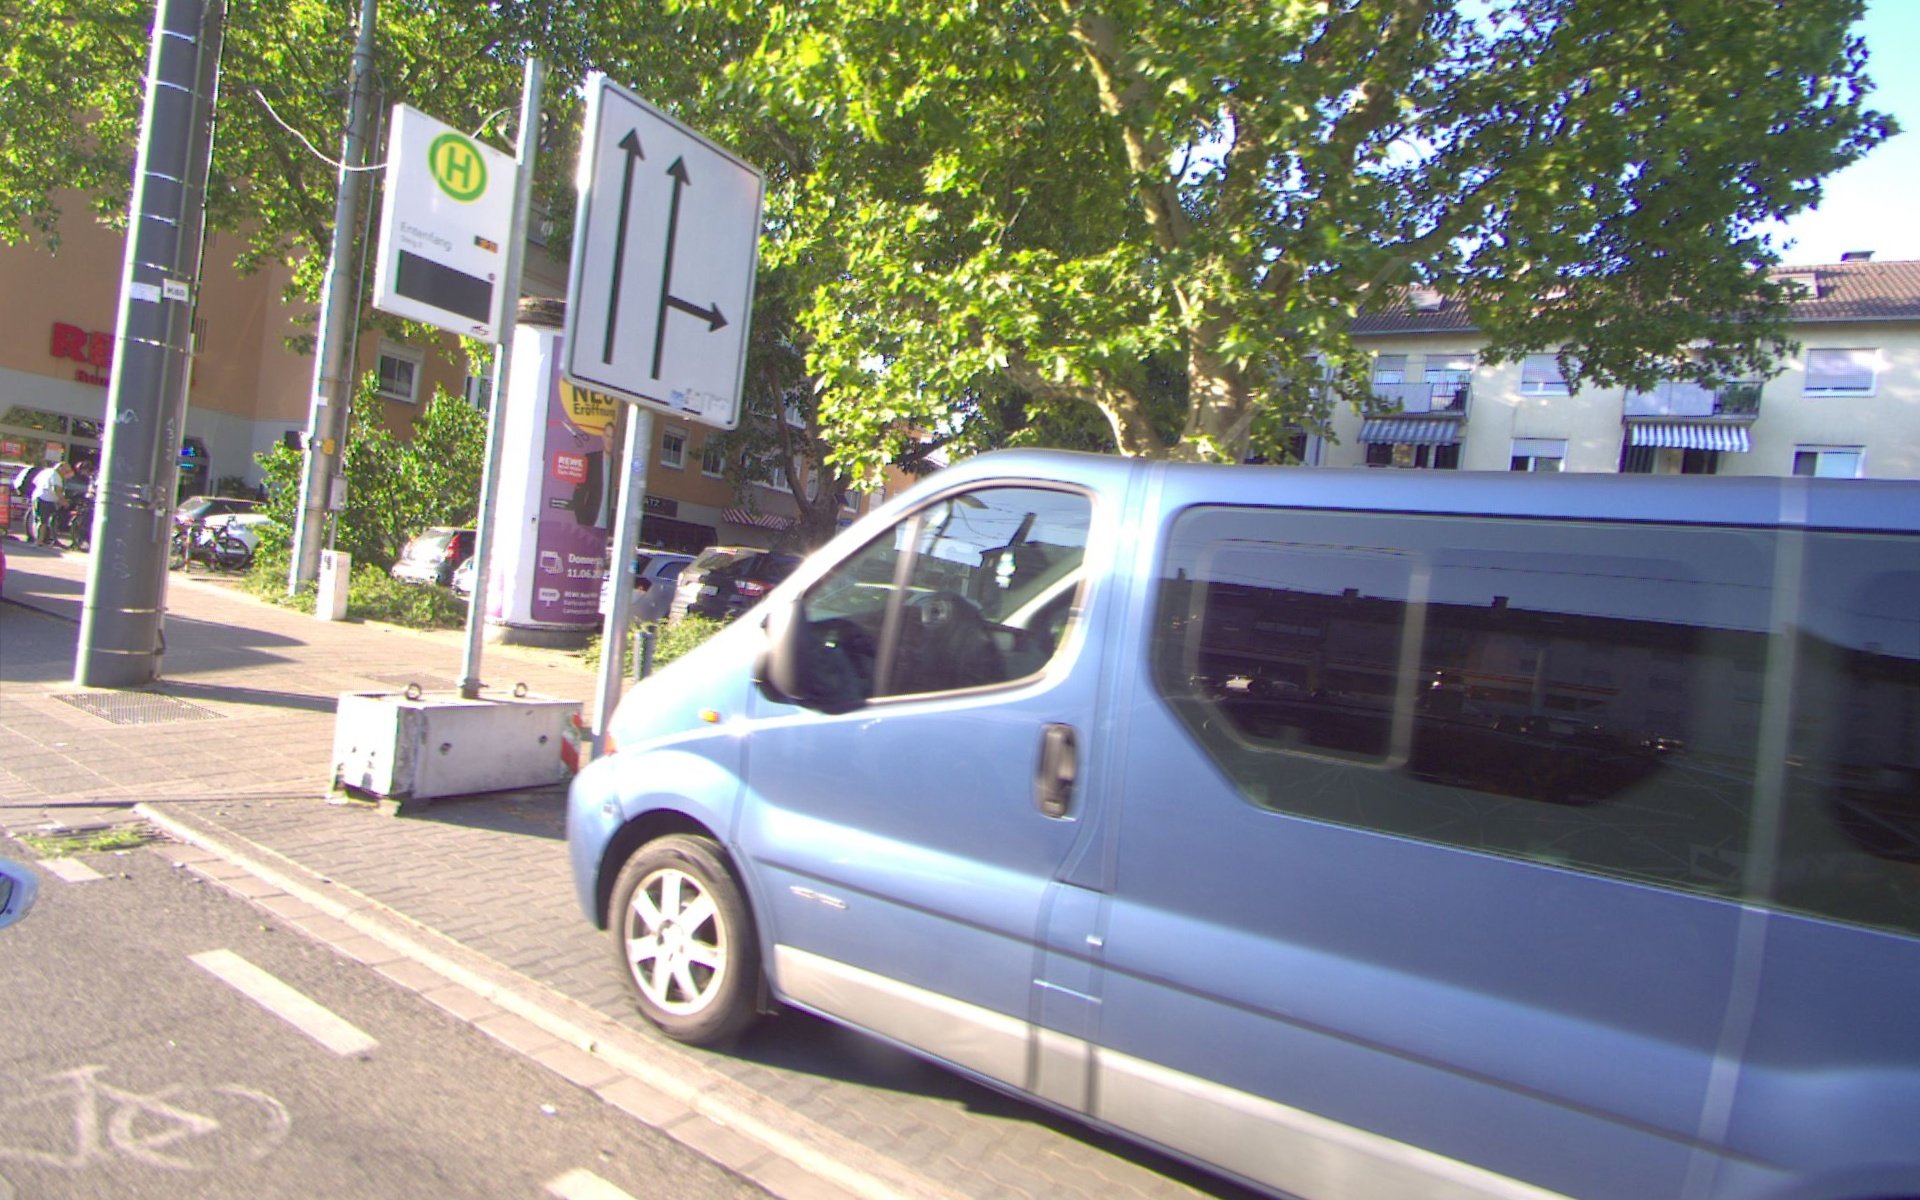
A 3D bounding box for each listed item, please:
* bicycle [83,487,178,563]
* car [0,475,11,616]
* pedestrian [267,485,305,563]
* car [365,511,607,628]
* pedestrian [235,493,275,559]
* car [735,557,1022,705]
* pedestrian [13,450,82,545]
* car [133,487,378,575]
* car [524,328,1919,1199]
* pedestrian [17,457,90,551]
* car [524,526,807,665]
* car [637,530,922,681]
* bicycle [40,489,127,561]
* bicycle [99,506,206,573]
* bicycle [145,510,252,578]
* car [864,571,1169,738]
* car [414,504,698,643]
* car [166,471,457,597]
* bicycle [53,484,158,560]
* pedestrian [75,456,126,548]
[{"bbox_3d":[-15.128,-1.330,18.392,0.637,1.242,1.578,6,1,-15],"label":"bicycle"},{"bbox_3d":[-12.215,-0.793,11.113,3.565,1.514,1.570,7,2,31],"label":"car"},{"bbox_3d":[-17.321,-1.937,25.856,0.466,1.905,0.574,6,1,-9],"label":"pedestrian"},{"bbox_3d":[-8.567,-0.500,18.467,1.744,1.499,3.507,7,-3,30],"label":"car"},{"bbox_3d":[-17.929,-1.868,25.598,0.413,1.588,0.638,7,1,2],"label":"pedestrian"},{"bbox_3d":[-0.945,0.509,13.664,1.773,1.453,3.847,9,-1,33],"label":"car"},{"bbox_3d":[-18.332,-2.044,20.213,0.756,1.776,0.806,9,5,32],"label":"pedestrian"},{"bbox_3d":[-15.778,-1.496,22.741,1.967,1.449,4.019,4,-2,31],"label":"car"},{"bbox_3d":[0.978,0.545,3.090,4.487,2.104,1.887,7,0,32],"label":"car"},{"bbox_3d":[-17.258,-1.825,19.150,0.972,1.659,0.659,8,5,24],"label":"pedestrian"},{"bbox_3d":[-4.448,0.005,15.740,1.826,1.511,3.849,7,-3,33],"label":"car"},{"bbox_3d":[-2.483,0.165,14.738,1.826,1.650,3.847,7,-2,33],"label":"car"},{"bbox_3d":[-16.717,-1.404,19.228,0.396,1.242,1.518,7,0,-8],"label":"bicycle"},{"bbox_3d":[-14.167,-1.034,17.705,0.640,1.026,1.581,7,0,-6],"label":"bicycle"},{"bbox_3d":[-13.304,-0.952,17.636,0.640,1.026,1.678,7,0,-6],"label":"bicycle"},{"bbox_3d":[0.874,0.674,12.230,1.773,1.513,4.115,7,0,33],"label":"car"},{"bbox_3d":[-6.655,-0.366,17.019,1.825,1.618,4.033,7,-3,30],"label":"car"},{"bbox_3d":[-13.468,-1.309,21.225,1.966,1.727,4.630,7,-3,31],"label":"car"},{"bbox_3d":[-16.012,-1.431,18.904,0.640,1.242,1.581,7,1,-6],"label":"bicycle"},{"bbox_3d":[-17.704,-2.016,20.728,0.639,1.807,0.528,8,5,24],"label":"pedestrian"}]
